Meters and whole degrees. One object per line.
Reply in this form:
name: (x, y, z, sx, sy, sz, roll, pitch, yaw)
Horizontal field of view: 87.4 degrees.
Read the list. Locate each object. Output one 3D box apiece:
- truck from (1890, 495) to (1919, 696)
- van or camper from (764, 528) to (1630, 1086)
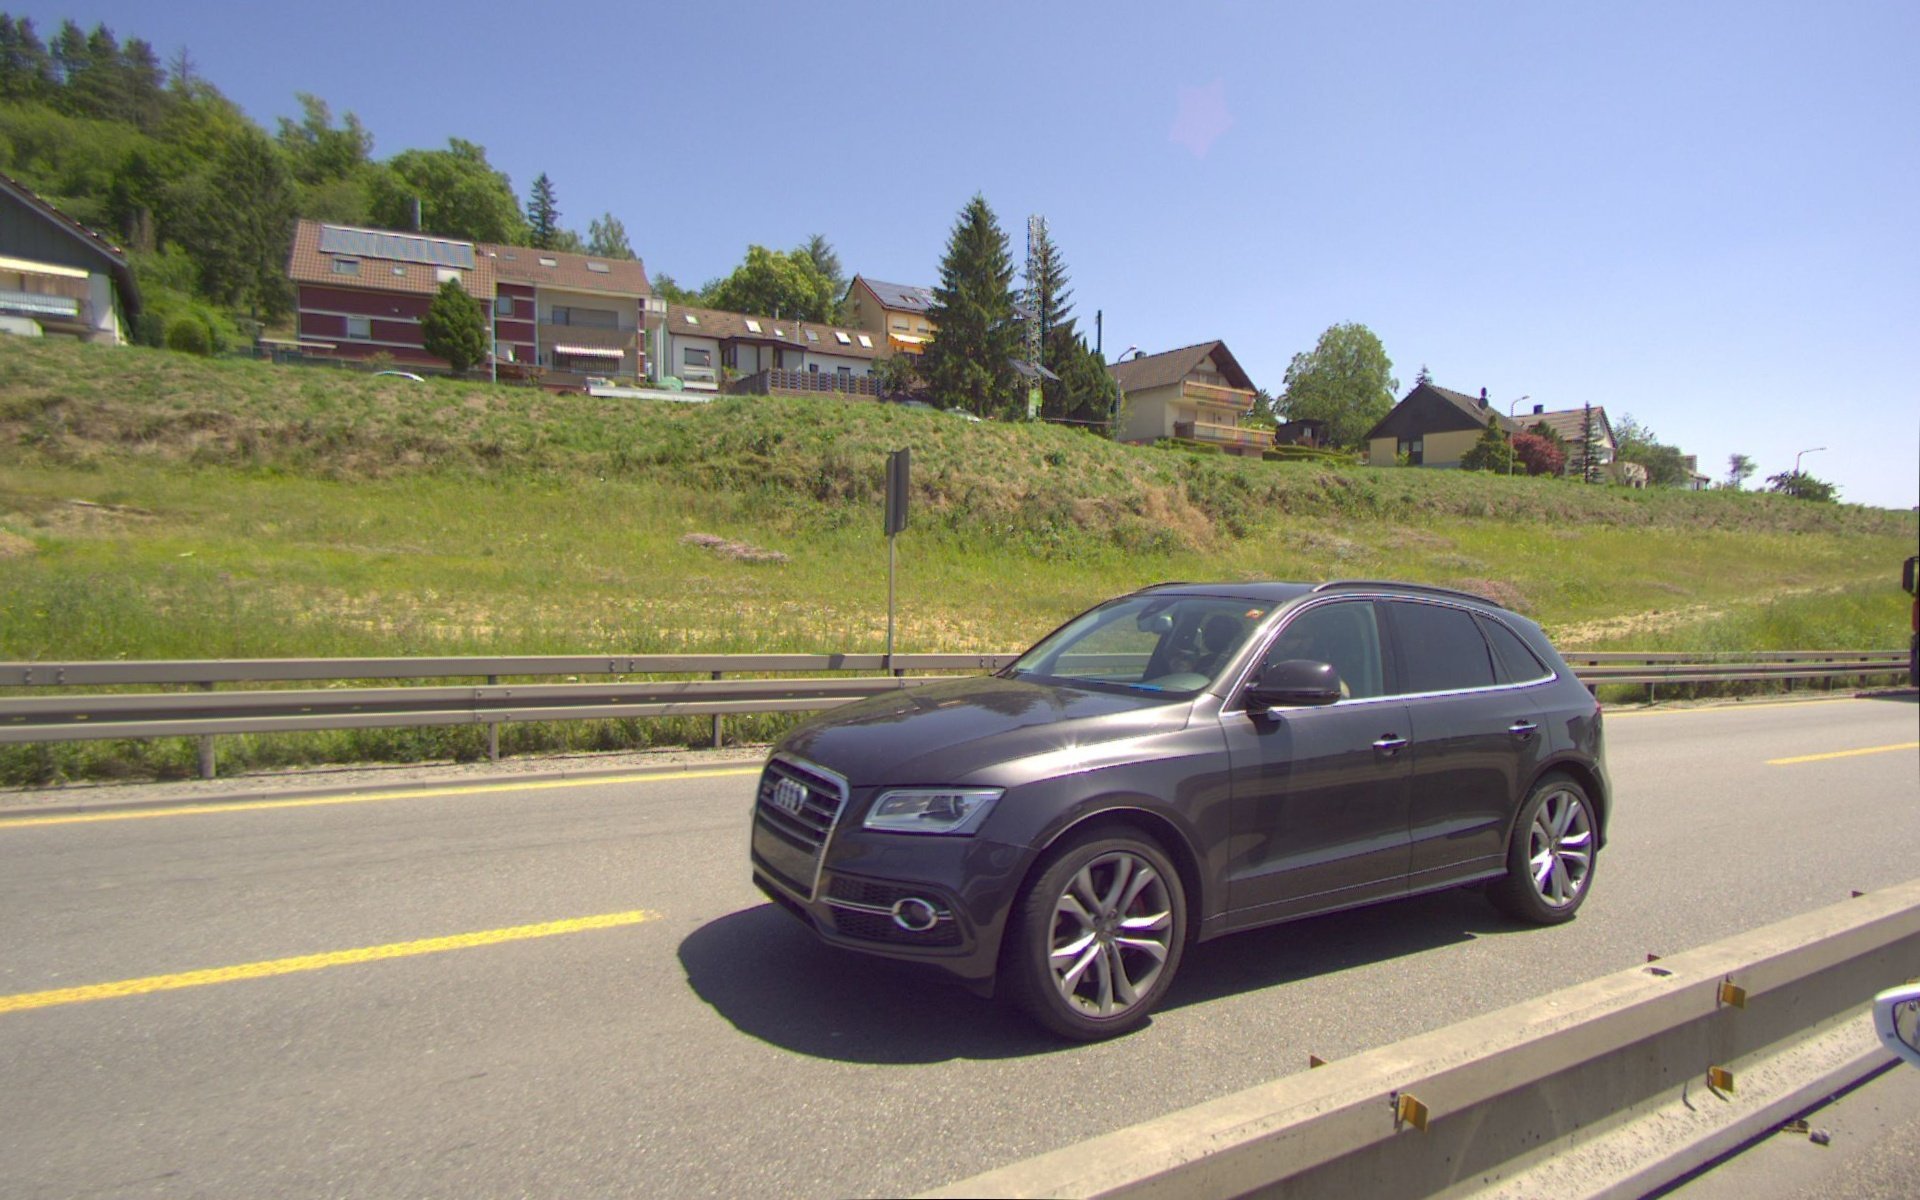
truck: (22.425, -0.041, 21.259, 4.545, 4.179, 2.807, 1, 0, -31)
van or camper: (1.214, 0.662, 4.812, 3.843, 1.690, 1.819, 1, 0, -30)
